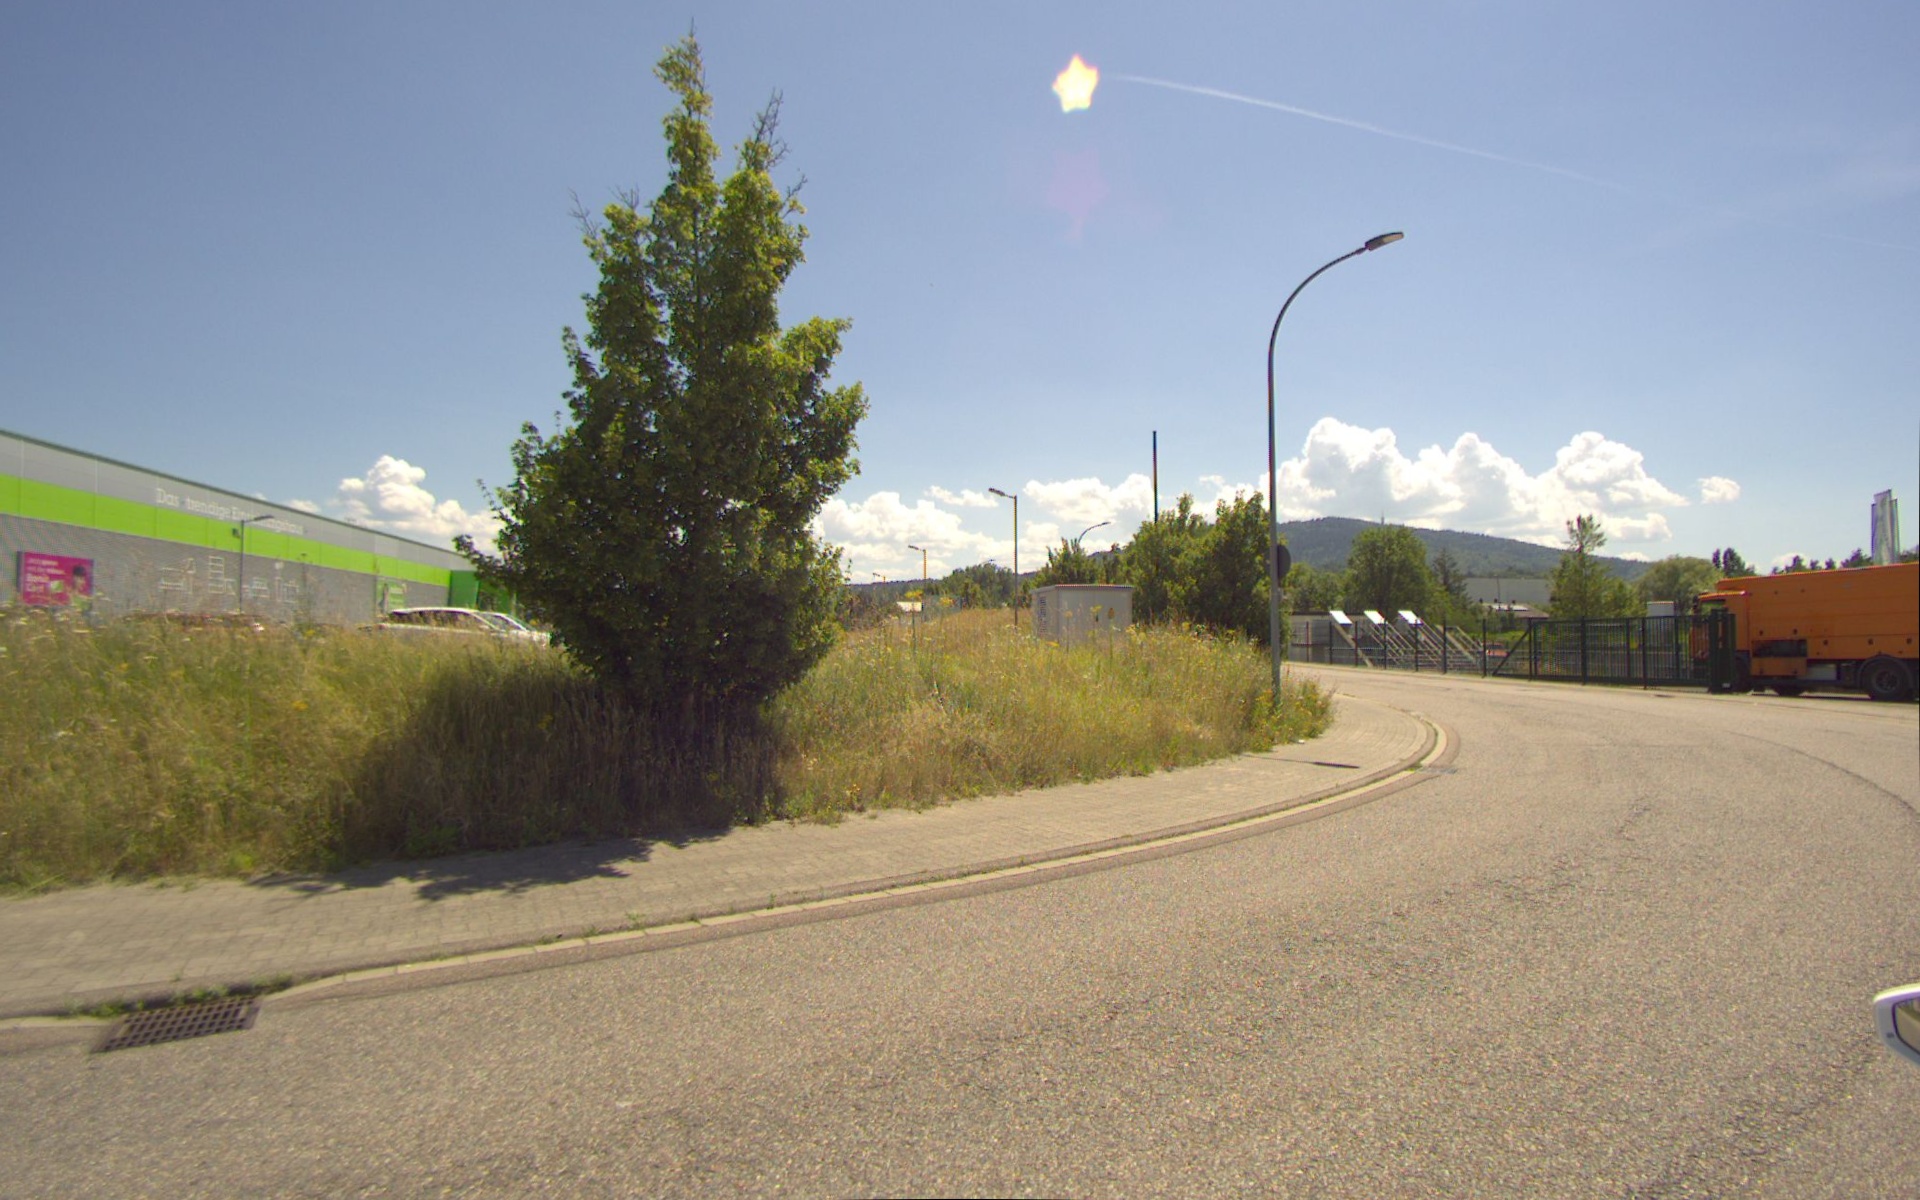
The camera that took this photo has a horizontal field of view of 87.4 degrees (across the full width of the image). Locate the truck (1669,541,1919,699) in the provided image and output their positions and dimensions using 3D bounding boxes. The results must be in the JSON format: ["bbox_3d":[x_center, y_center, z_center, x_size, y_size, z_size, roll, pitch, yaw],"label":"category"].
[{"bbox_3d":[24.809,0.576,27.139,4.094,3.856,8.590,0,-2,-14],"label":"truck"}]

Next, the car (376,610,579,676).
[{"bbox_3d":[-11.206,0.985,23.636,3.931,1.431,1.995,0,-1,-13],"label":"car"}]

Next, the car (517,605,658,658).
[{"bbox_3d":[-11.659,0.982,31.693,3.931,1.565,1.995,0,-1,-13],"label":"car"}]
